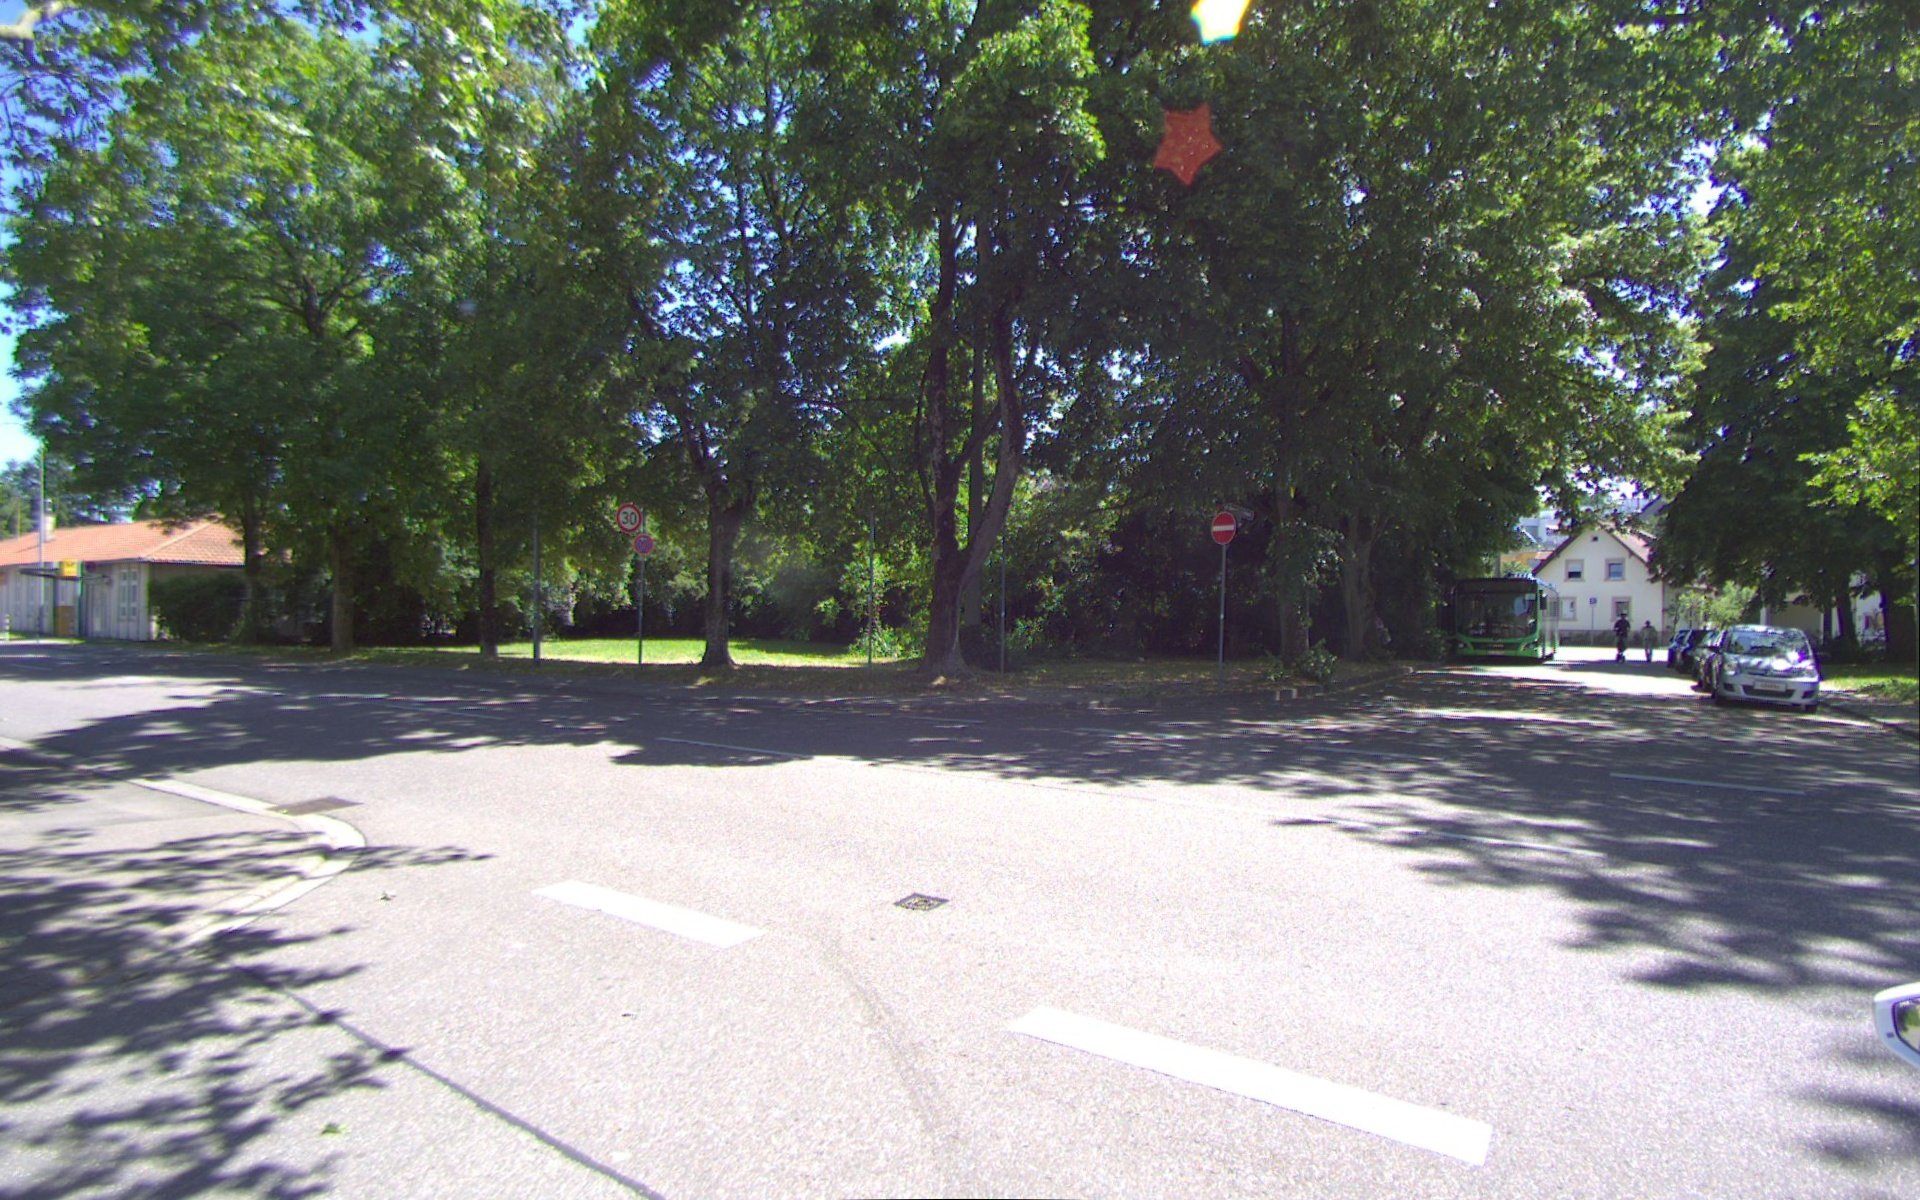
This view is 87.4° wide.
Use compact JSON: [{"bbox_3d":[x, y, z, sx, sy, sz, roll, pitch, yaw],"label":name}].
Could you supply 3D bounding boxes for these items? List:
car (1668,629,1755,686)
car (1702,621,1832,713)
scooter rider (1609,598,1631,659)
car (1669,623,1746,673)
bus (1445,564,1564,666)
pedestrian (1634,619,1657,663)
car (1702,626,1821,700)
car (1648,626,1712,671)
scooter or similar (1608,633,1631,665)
[{"bbox_3d":[21.871,1.617,29.370,1.726,1.458,4.756,0,-1,33],"label":"car"},{"bbox_3d":[15.348,1.198,19.260,1.573,1.517,3.476,2,0,33],"label":"car"},{"bbox_3d":[26.016,1.104,39.585,0.728,2.348,0.924,0,0,35],"label":"scooter rider"},{"bbox_3d":[24.637,1.528,33.222,1.730,1.513,4.363,1,-1,33],"label":"car"},{"bbox_3d":[22.169,0.622,40.232,2.829,3.339,15.906,1,-1,33],"label":"bus"},{"bbox_3d":[28.495,1.694,41.728,0.711,1.826,0.937,0,0,39],"label":"pedestrian"},{"bbox_3d":[18.638,1.387,23.522,1.726,1.458,4.490,2,0,33],"label":"car"},{"bbox_3d":[26.410,1.723,36.955,1.730,1.513,3.907,0,-1,33],"label":"car"},{"bbox_3d":[25.999,1.935,39.575,0.728,1.199,1.514,0,-1,34],"label":"scooter or similar"}]
